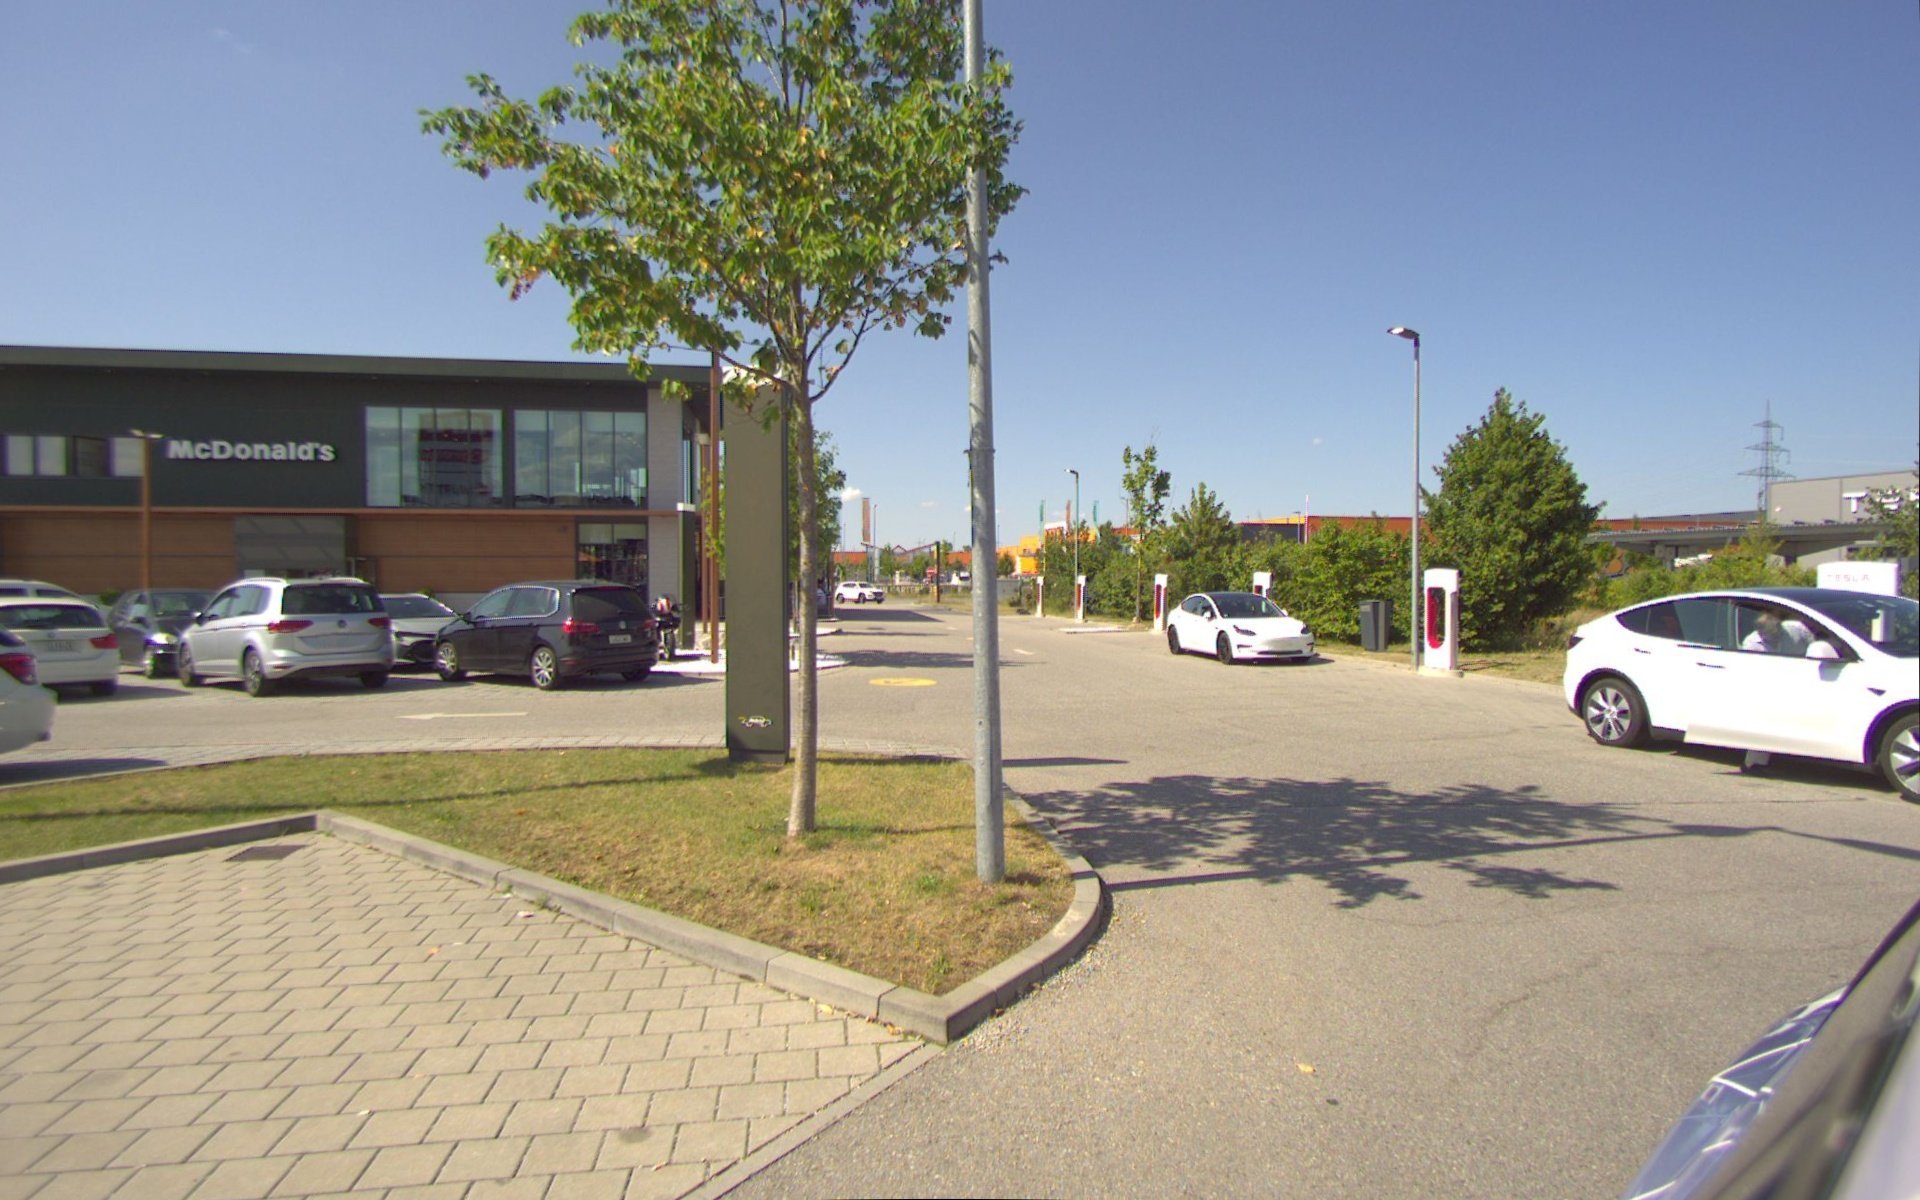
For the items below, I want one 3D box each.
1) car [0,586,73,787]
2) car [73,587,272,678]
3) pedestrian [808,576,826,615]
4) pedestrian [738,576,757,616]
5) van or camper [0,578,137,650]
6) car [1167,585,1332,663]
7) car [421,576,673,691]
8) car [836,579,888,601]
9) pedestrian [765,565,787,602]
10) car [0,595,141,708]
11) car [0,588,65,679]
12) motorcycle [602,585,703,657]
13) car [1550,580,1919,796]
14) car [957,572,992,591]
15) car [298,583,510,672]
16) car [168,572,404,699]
[{"bbox_3d":[-8.760,0.654,6.586,1.961,1.478,4.158,0,1,33],"label":"car"},{"bbox_3d":[-14.985,0.539,19.182,4.618,1.505,1.871,0,1,38],"label":"car"},{"bbox_3d":[-5.767,-0.190,40.843,0.687,1.579,0.723,0,1,-8],"label":"pedestrian"},{"bbox_3d":[-8.484,-0.171,40.366,0.687,1.579,0.723,0,1,-8],"label":"pedestrian"},{"bbox_3d":[-24.442,0.343,26.650,1.699,1.797,3.981,0,0,33],"label":"van or camper"},{"bbox_3d":[6.081,0.435,21.853,1.805,1.497,4.340,0,1,-8],"label":"car"},{"bbox_3d":[-6.458,0.451,15.697,3.972,1.571,1.733,0,0,34],"label":"car"},{"bbox_3d":[-7.284,-0.726,75.001,3.870,1.581,1.736,0,0,44],"label":"car"},{"bbox_3d":[-8.039,-0.713,44.121,0.709,1.579,0.701,0,0,-37],"label":"pedestrian"},{"bbox_3d":[-13.643,0.655,14.711,4.091,1.431,1.789,0,1,37],"label":"car"},{"bbox_3d":[-17.820,0.564,18.104,4.618,1.505,1.871,0,1,37],"label":"car"},{"bbox_3d":[-6.031,0.385,19.808,2.147,1.341,0.755,0,1,36],"label":"motorcycle"},{"bbox_3d":[7.801,0.633,8.971,1.804,1.613,4.586,0,1,-12],"label":"car"},{"bbox_3d":[1.762,-2.276,125.483,3.917,2.332,2.004,0,0,-11],"label":"car"},{"bbox_3d":[-10.706,0.454,19.359,4.618,1.505,1.871,0,1,37],"label":"car"},{"bbox_3d":[-10.403,0.455,15.533,4.091,1.695,1.789,0,1,37],"label":"car"}]
